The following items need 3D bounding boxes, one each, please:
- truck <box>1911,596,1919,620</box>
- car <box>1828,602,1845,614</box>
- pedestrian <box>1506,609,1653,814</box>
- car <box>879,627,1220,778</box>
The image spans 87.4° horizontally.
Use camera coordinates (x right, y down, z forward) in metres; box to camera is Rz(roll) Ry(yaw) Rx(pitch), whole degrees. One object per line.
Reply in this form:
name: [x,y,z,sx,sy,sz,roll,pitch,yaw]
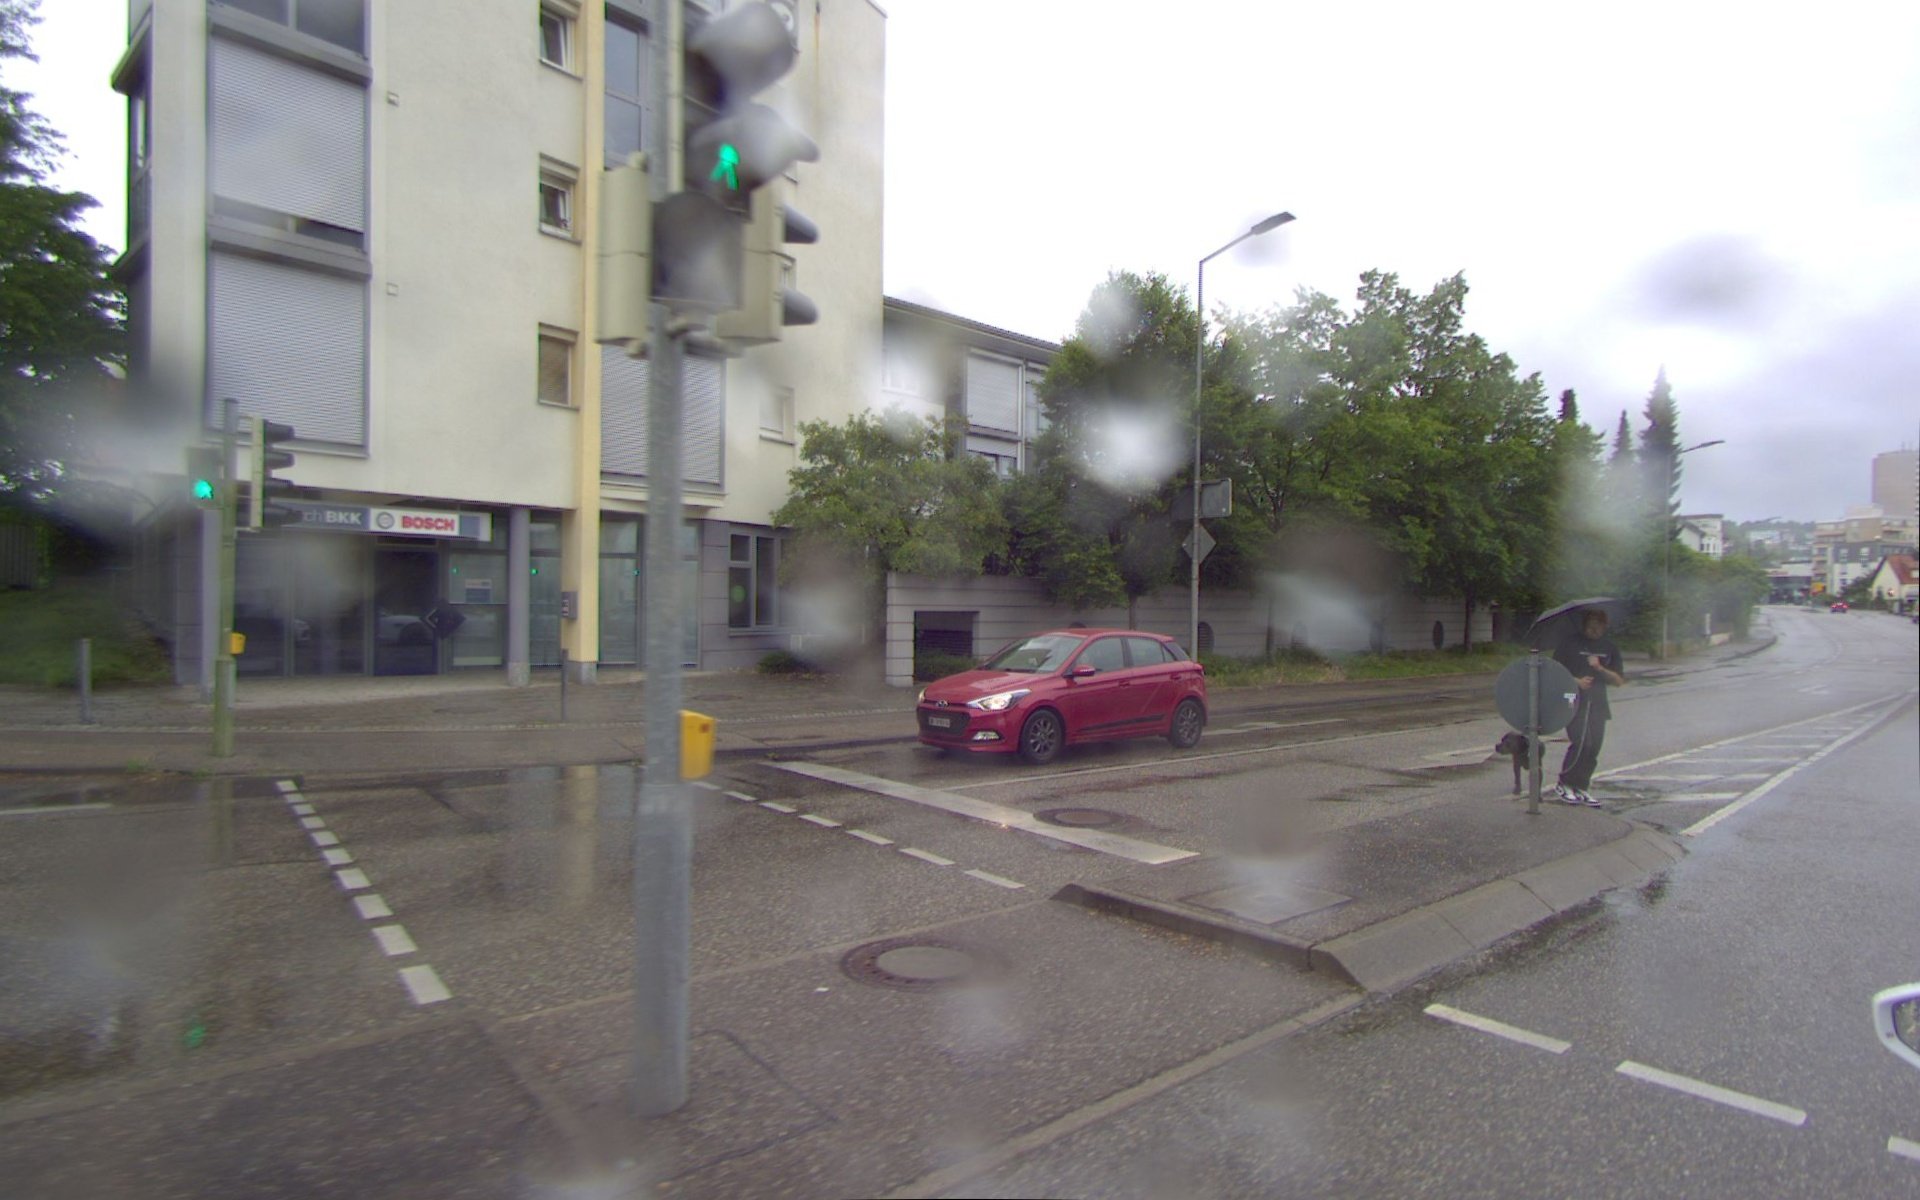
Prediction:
truck: [95.924,0.790,99.822,1.972,2.334,3.977,0,0,43]
car: [127.105,1.148,145.664,1.774,1.691,3.980,-1,-2,41]
pedestrian: [5.538,0.964,8.995,0.933,1.725,0.665,2,0,-22]
car: [1.180,1.120,12.179,4.069,1.526,1.761,2,-3,-39]
